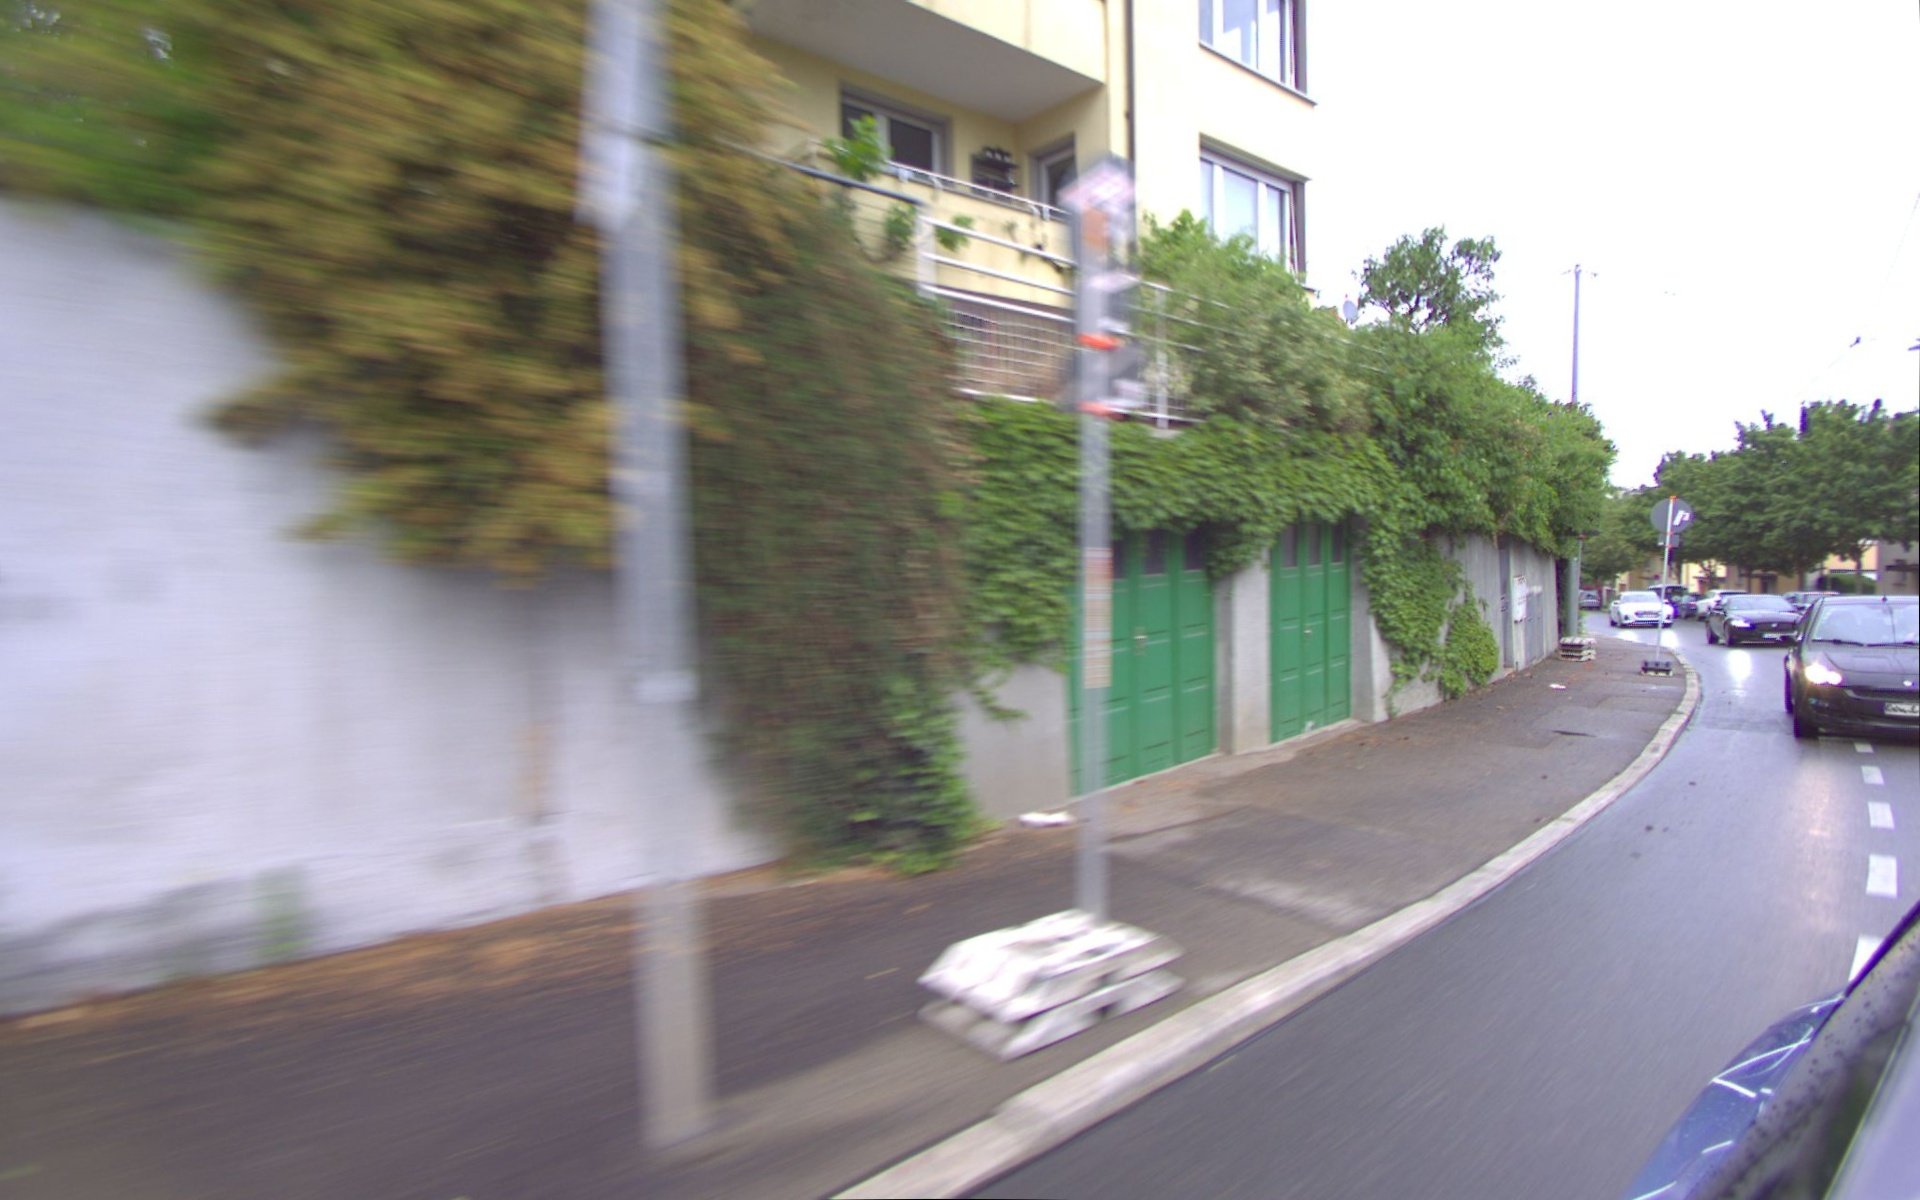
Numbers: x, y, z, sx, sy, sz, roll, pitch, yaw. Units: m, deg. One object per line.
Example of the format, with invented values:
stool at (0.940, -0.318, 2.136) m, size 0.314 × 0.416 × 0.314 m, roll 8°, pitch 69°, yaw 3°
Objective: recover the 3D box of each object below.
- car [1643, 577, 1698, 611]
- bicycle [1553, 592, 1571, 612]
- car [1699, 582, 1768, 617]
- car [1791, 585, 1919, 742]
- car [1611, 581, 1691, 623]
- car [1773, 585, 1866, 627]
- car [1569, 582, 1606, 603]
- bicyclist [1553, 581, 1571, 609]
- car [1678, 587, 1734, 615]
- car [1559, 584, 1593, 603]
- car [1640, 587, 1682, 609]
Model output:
car at (44.636, -0.403, 63.664) m, size 1.803 × 2.037 × 4.529 m, roll 2°, pitch 2°, yaw 22°
bicycle at (34.646, 0.094, 58.239) m, size 0.583 × 1.113 × 1.517 m, roll -2°, pitch 0°, yaw 22°
car at (39.472, -0.057, 51.750) m, size 1.795 × 1.634 × 4.471 m, roll 1°, pitch 1°, yaw 25°
car at (10.345, 0.574, 11.179) m, size 1.739 × 1.460 × 4.298 m, roll -1°, pitch 0°, yaw 39°
car at (31.372, 0.070, 46.086) m, size 1.996 × 1.760 × 4.565 m, roll -2°, pitch 0°, yaw 22°
car at (35.241, 0.191, 41.600) m, size 1.704 × 1.565 × 4.260 m, roll 2°, pitch 2°, yaw 24°
car at (51.984, -0.647, 83.916) m, size 1.888 × 1.620 × 4.060 m, roll 0°, pitch 1°, yaw 22°
bicyclist at (34.648, -0.275, 58.274) m, size 0.677 × 1.556 × 0.779 m, roll -3°, pitch -1°, yaw 22°
car at (41.862, 0.040, 56.871) m, size 1.606 × 1.460 × 4.233 m, roll 2°, pitch 2°, yaw 24°
car at (53.785, -0.627, 88.437) m, size 1.843 × 1.592 × 3.880 m, roll 1°, pitch 1°, yaw 22°
car at (47.080, -0.176, 68.017) m, size 1.526 × 1.390 × 3.513 m, roll 2°, pitch 2°, yaw 22°
